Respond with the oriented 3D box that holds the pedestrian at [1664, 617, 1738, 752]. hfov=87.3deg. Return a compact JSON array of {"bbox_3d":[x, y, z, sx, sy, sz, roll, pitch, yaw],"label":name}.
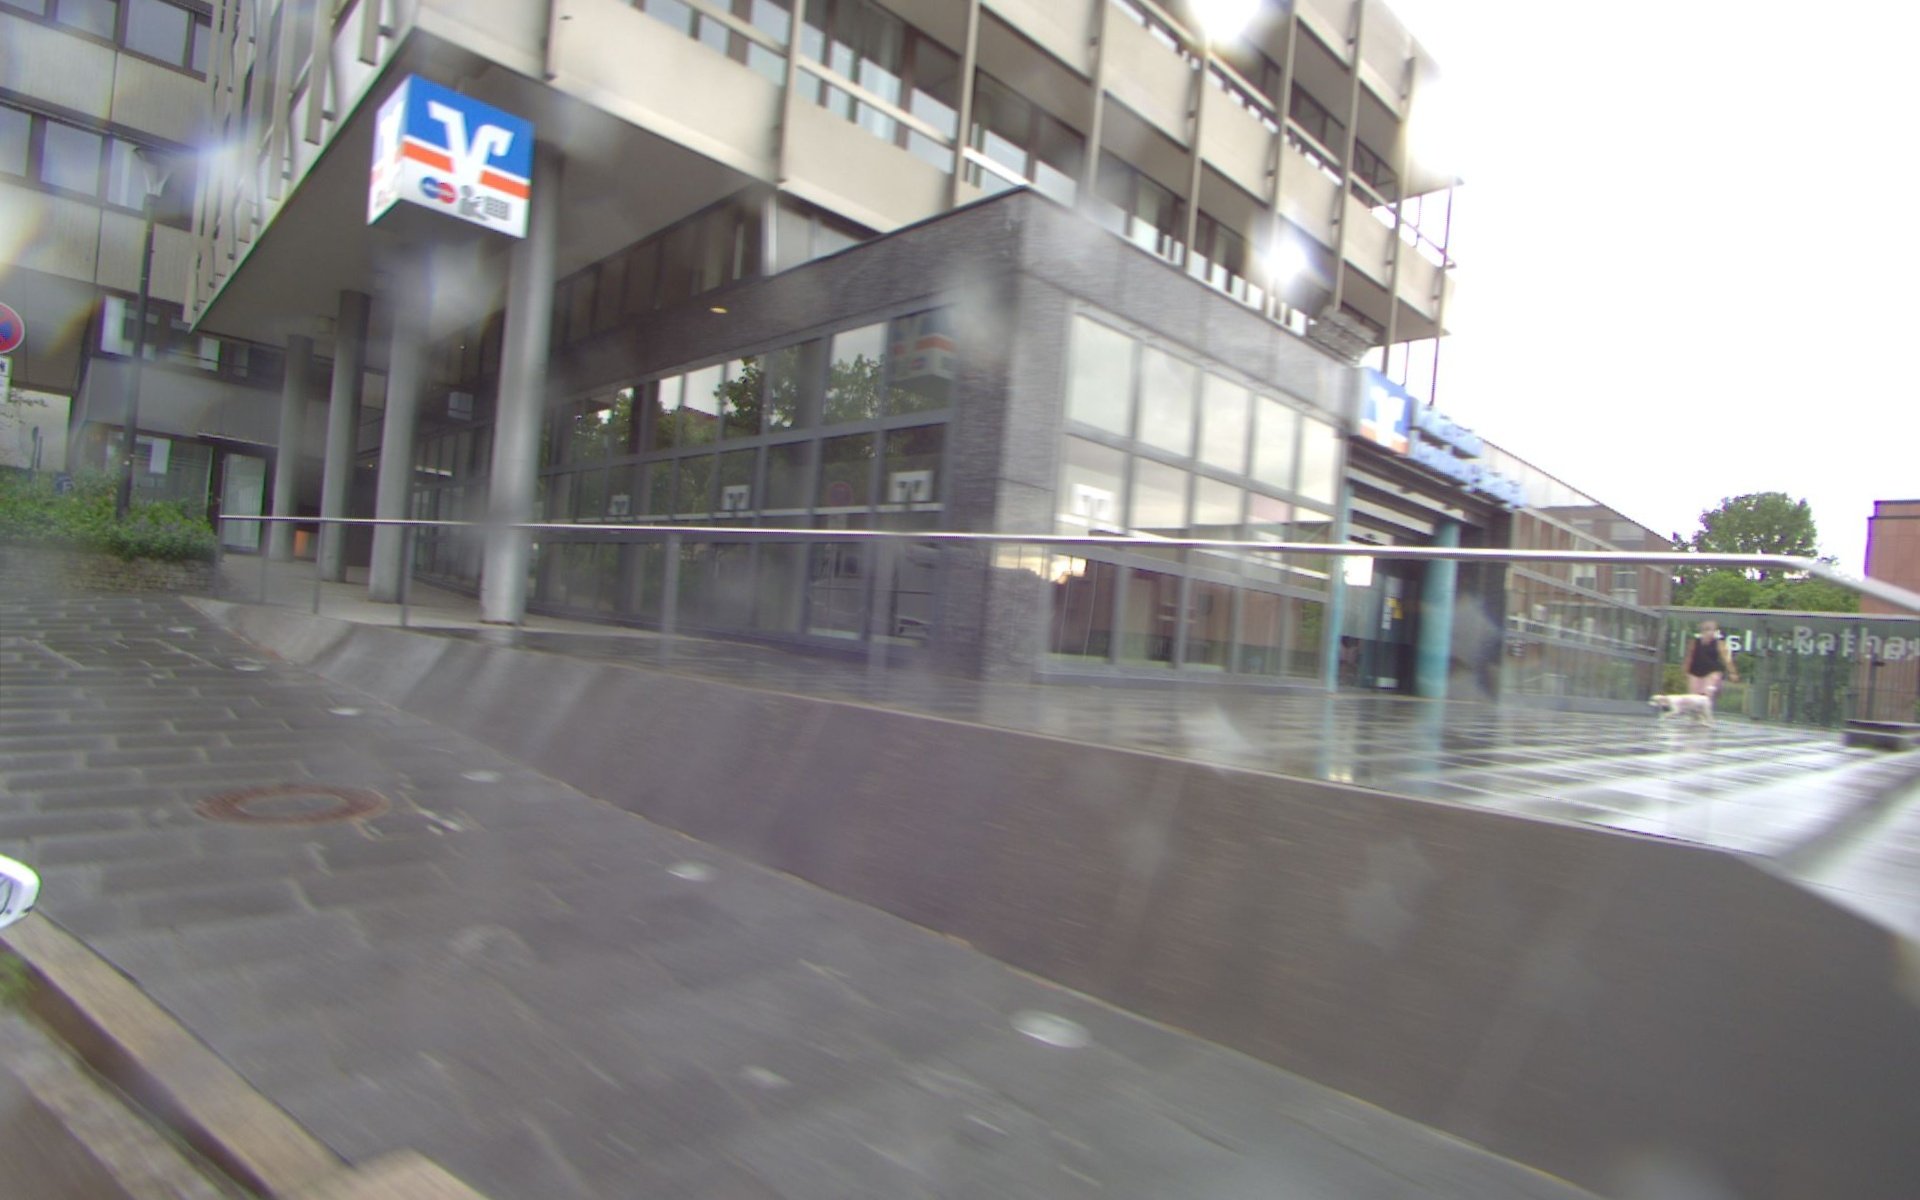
[{"bbox_3d":[12.504,1.418,16.985,0.754,2.175,0.652,5,1,-38],"label":"pedestrian"}]
